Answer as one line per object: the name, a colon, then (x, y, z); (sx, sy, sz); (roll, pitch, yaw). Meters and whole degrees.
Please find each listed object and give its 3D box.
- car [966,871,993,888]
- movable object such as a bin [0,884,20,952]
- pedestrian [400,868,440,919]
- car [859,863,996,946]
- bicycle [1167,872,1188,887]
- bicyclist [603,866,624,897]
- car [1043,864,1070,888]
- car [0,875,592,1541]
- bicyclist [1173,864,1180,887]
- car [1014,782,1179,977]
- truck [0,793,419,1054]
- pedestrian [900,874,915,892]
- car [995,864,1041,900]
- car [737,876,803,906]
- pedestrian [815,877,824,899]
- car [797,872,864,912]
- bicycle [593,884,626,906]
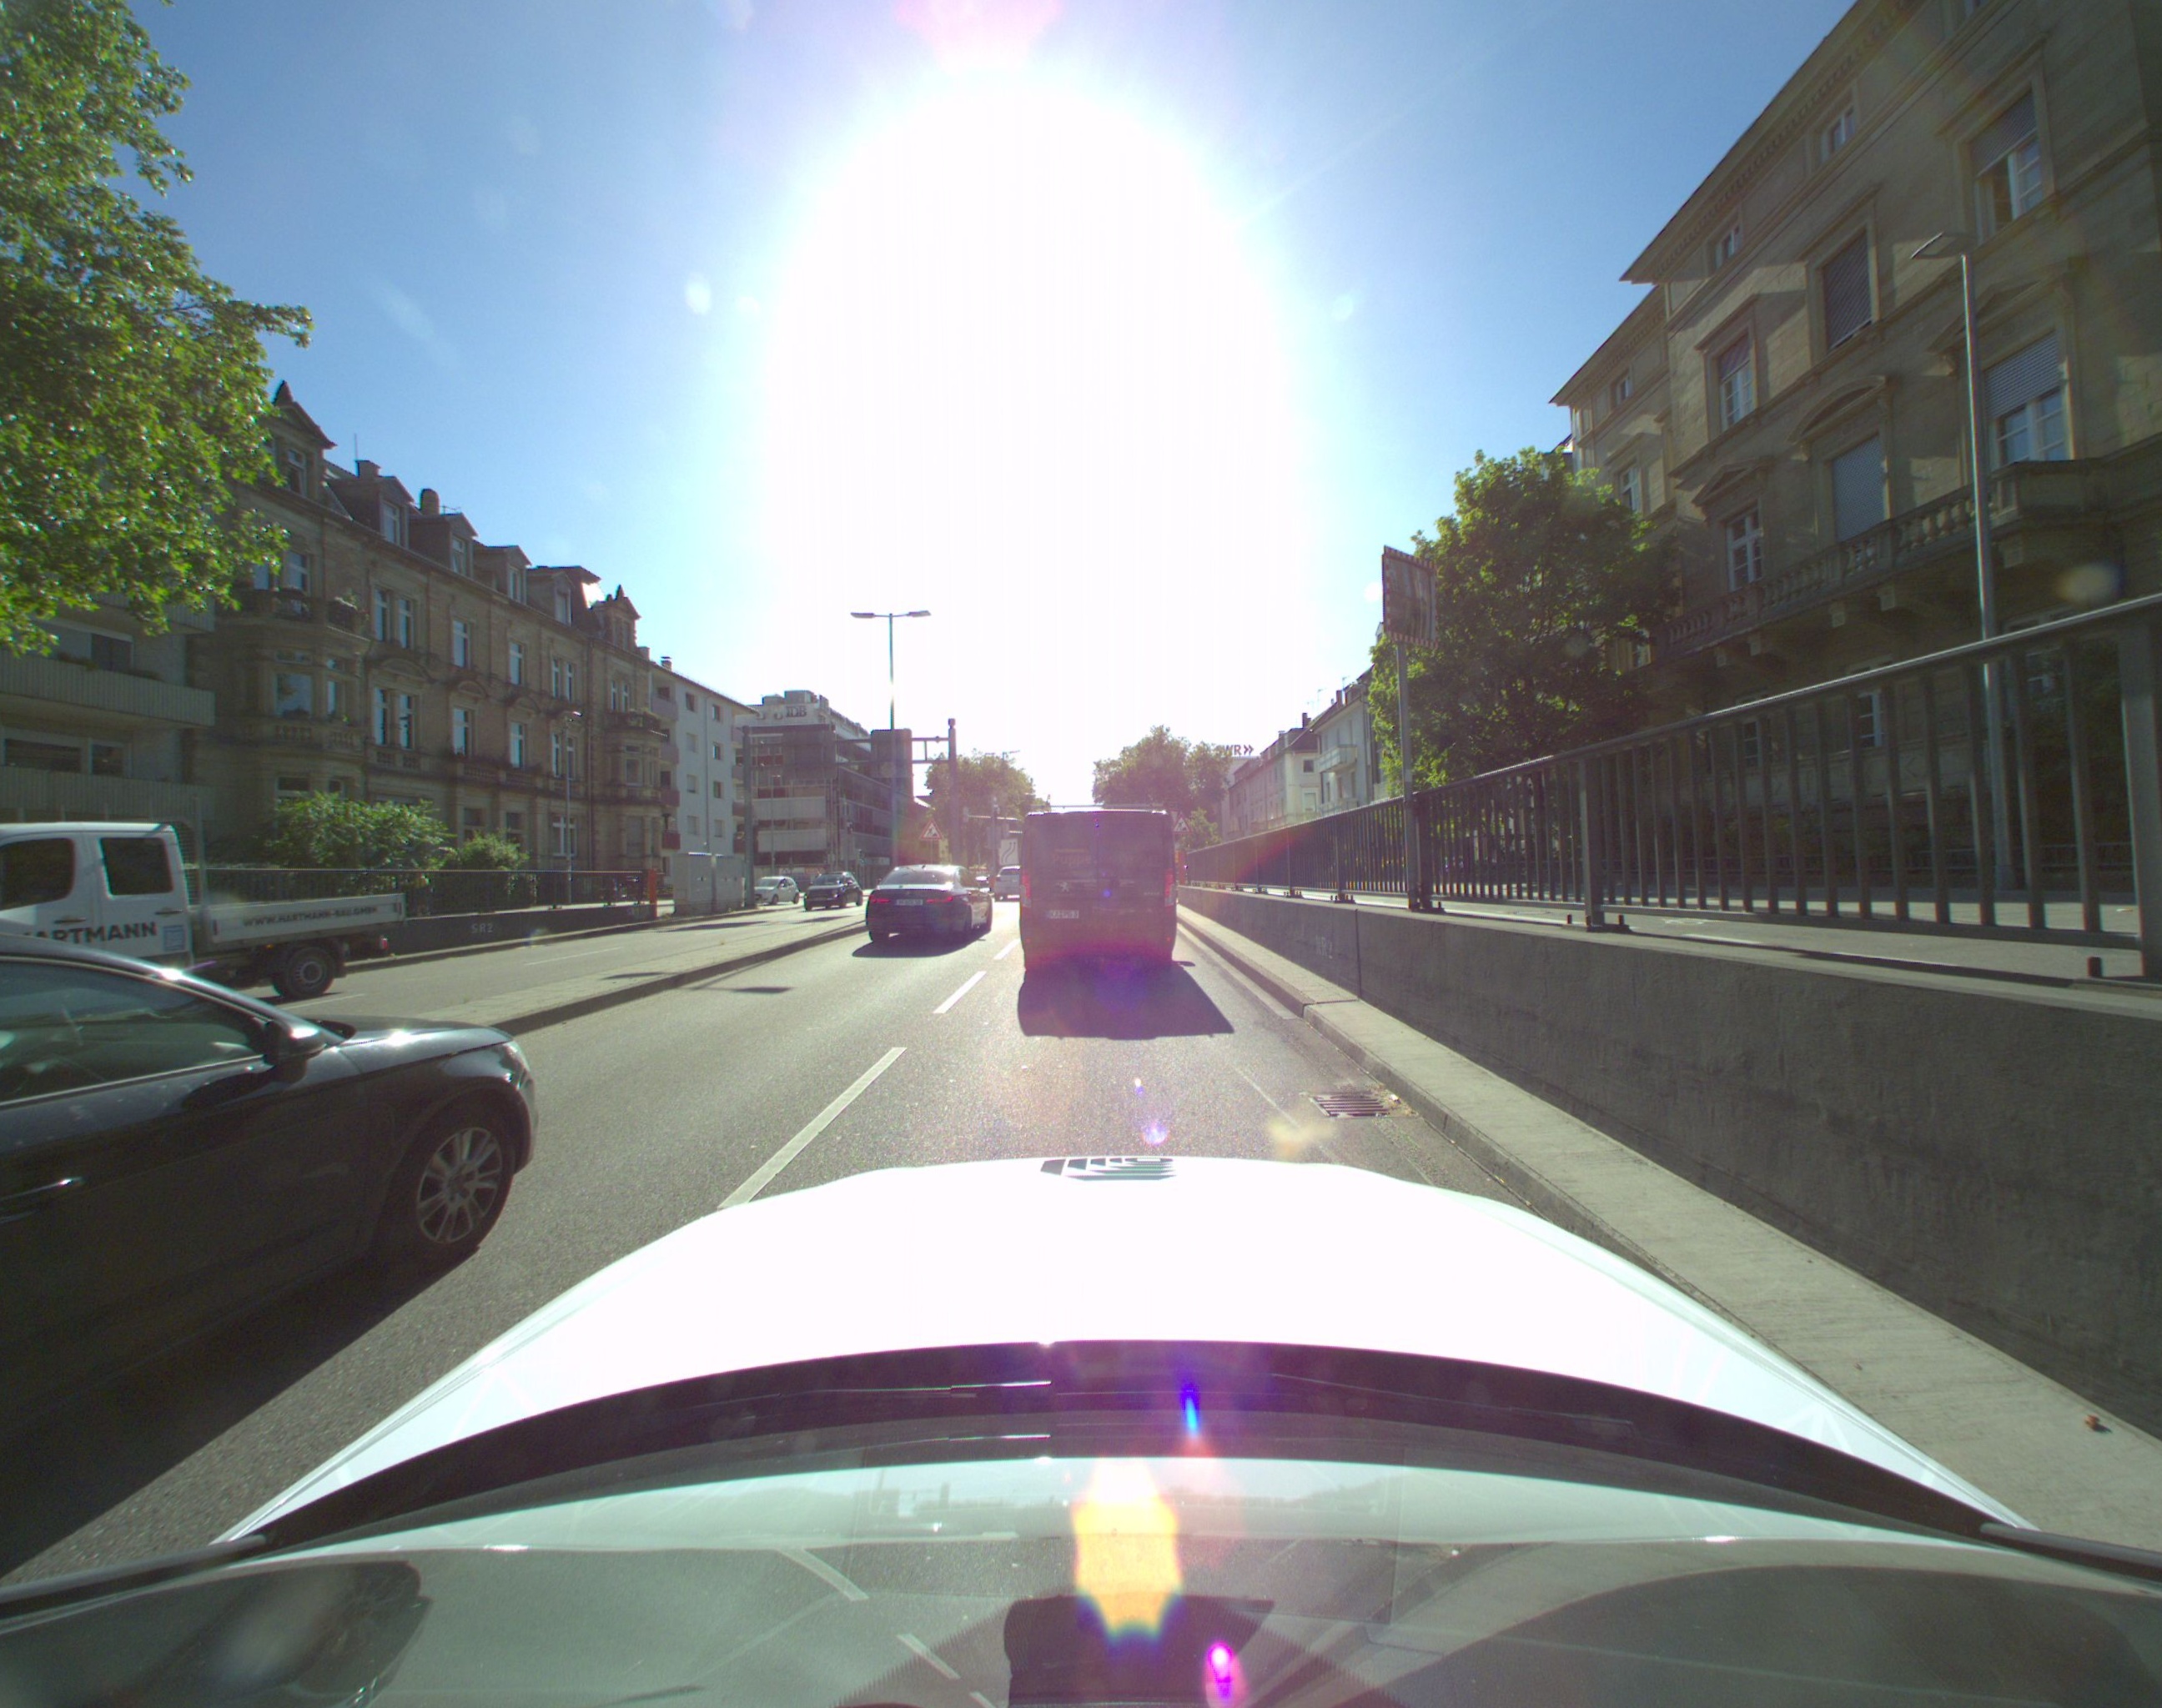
car: (-9.517, 2.372, 76.751); (1.929, 1.555, 3.924); (0, -1, 2)
movable object such as a bin: (-23.154, 1.337, 16.615); (1.274, 1.402, 1.302); (0, -1, 1)
pedestrian: (-22.609, 1.333, 27.866); (0.634, 1.706, 0.834); (0, -1, 1)
car: (-2.947, 0.914, 16.738); (1.802, 1.439, 5.002); (0, -1, 1)
bicycle: (7.371, 1.967, 62.129); (1.560, 1.118, 0.570); (0, -1, 0)
bicyclist: (-25.093, 1.450, 43.710); (0.585, 1.659, 0.951); (0, -1, 1)
car: (-1.601, 1.431, 54.025); (1.683, 1.483, 3.319); (0, 0, 1)
car: (-3.195, 0.790, 1.915); (1.690, 1.419, 3.888); (0, -1, 1)
bicyclist: (7.295, 1.654, 62.136); (0.507, 1.735, 0.597); (0, -1, 1)
car: (0.241, 0.348, 12.176); (2.023, 2.402, 3.973); (-1, -1, 1)
truck: (-11.520, 0.708, 9.532); (2.220, 2.527, 6.133); (-3, 0, 2)
pedestrian: (-17.954, 3.003, 84.492); (1.328, 1.931, 1.026); (0, -1, 1)
car: (-2.694, 1.157, 35.354); (1.613, 1.403, 3.853); (0, 0, 1)
car: (-15.933, 1.886, 41.890); (1.668, 1.410, 3.621); (-1, -1, 6)
pedestrian: (-22.693, 2.915, 70.678); (0.659, 1.896, 0.720); (0, -1, -12)
car: (-10.380, 1.534, 33.967); (1.586, 1.445, 3.496); (-4, -1, 1)
bicycle: (-25.099, 2.169, 43.387); (0.585, 1.104, 1.974); (0, -1, 1)
